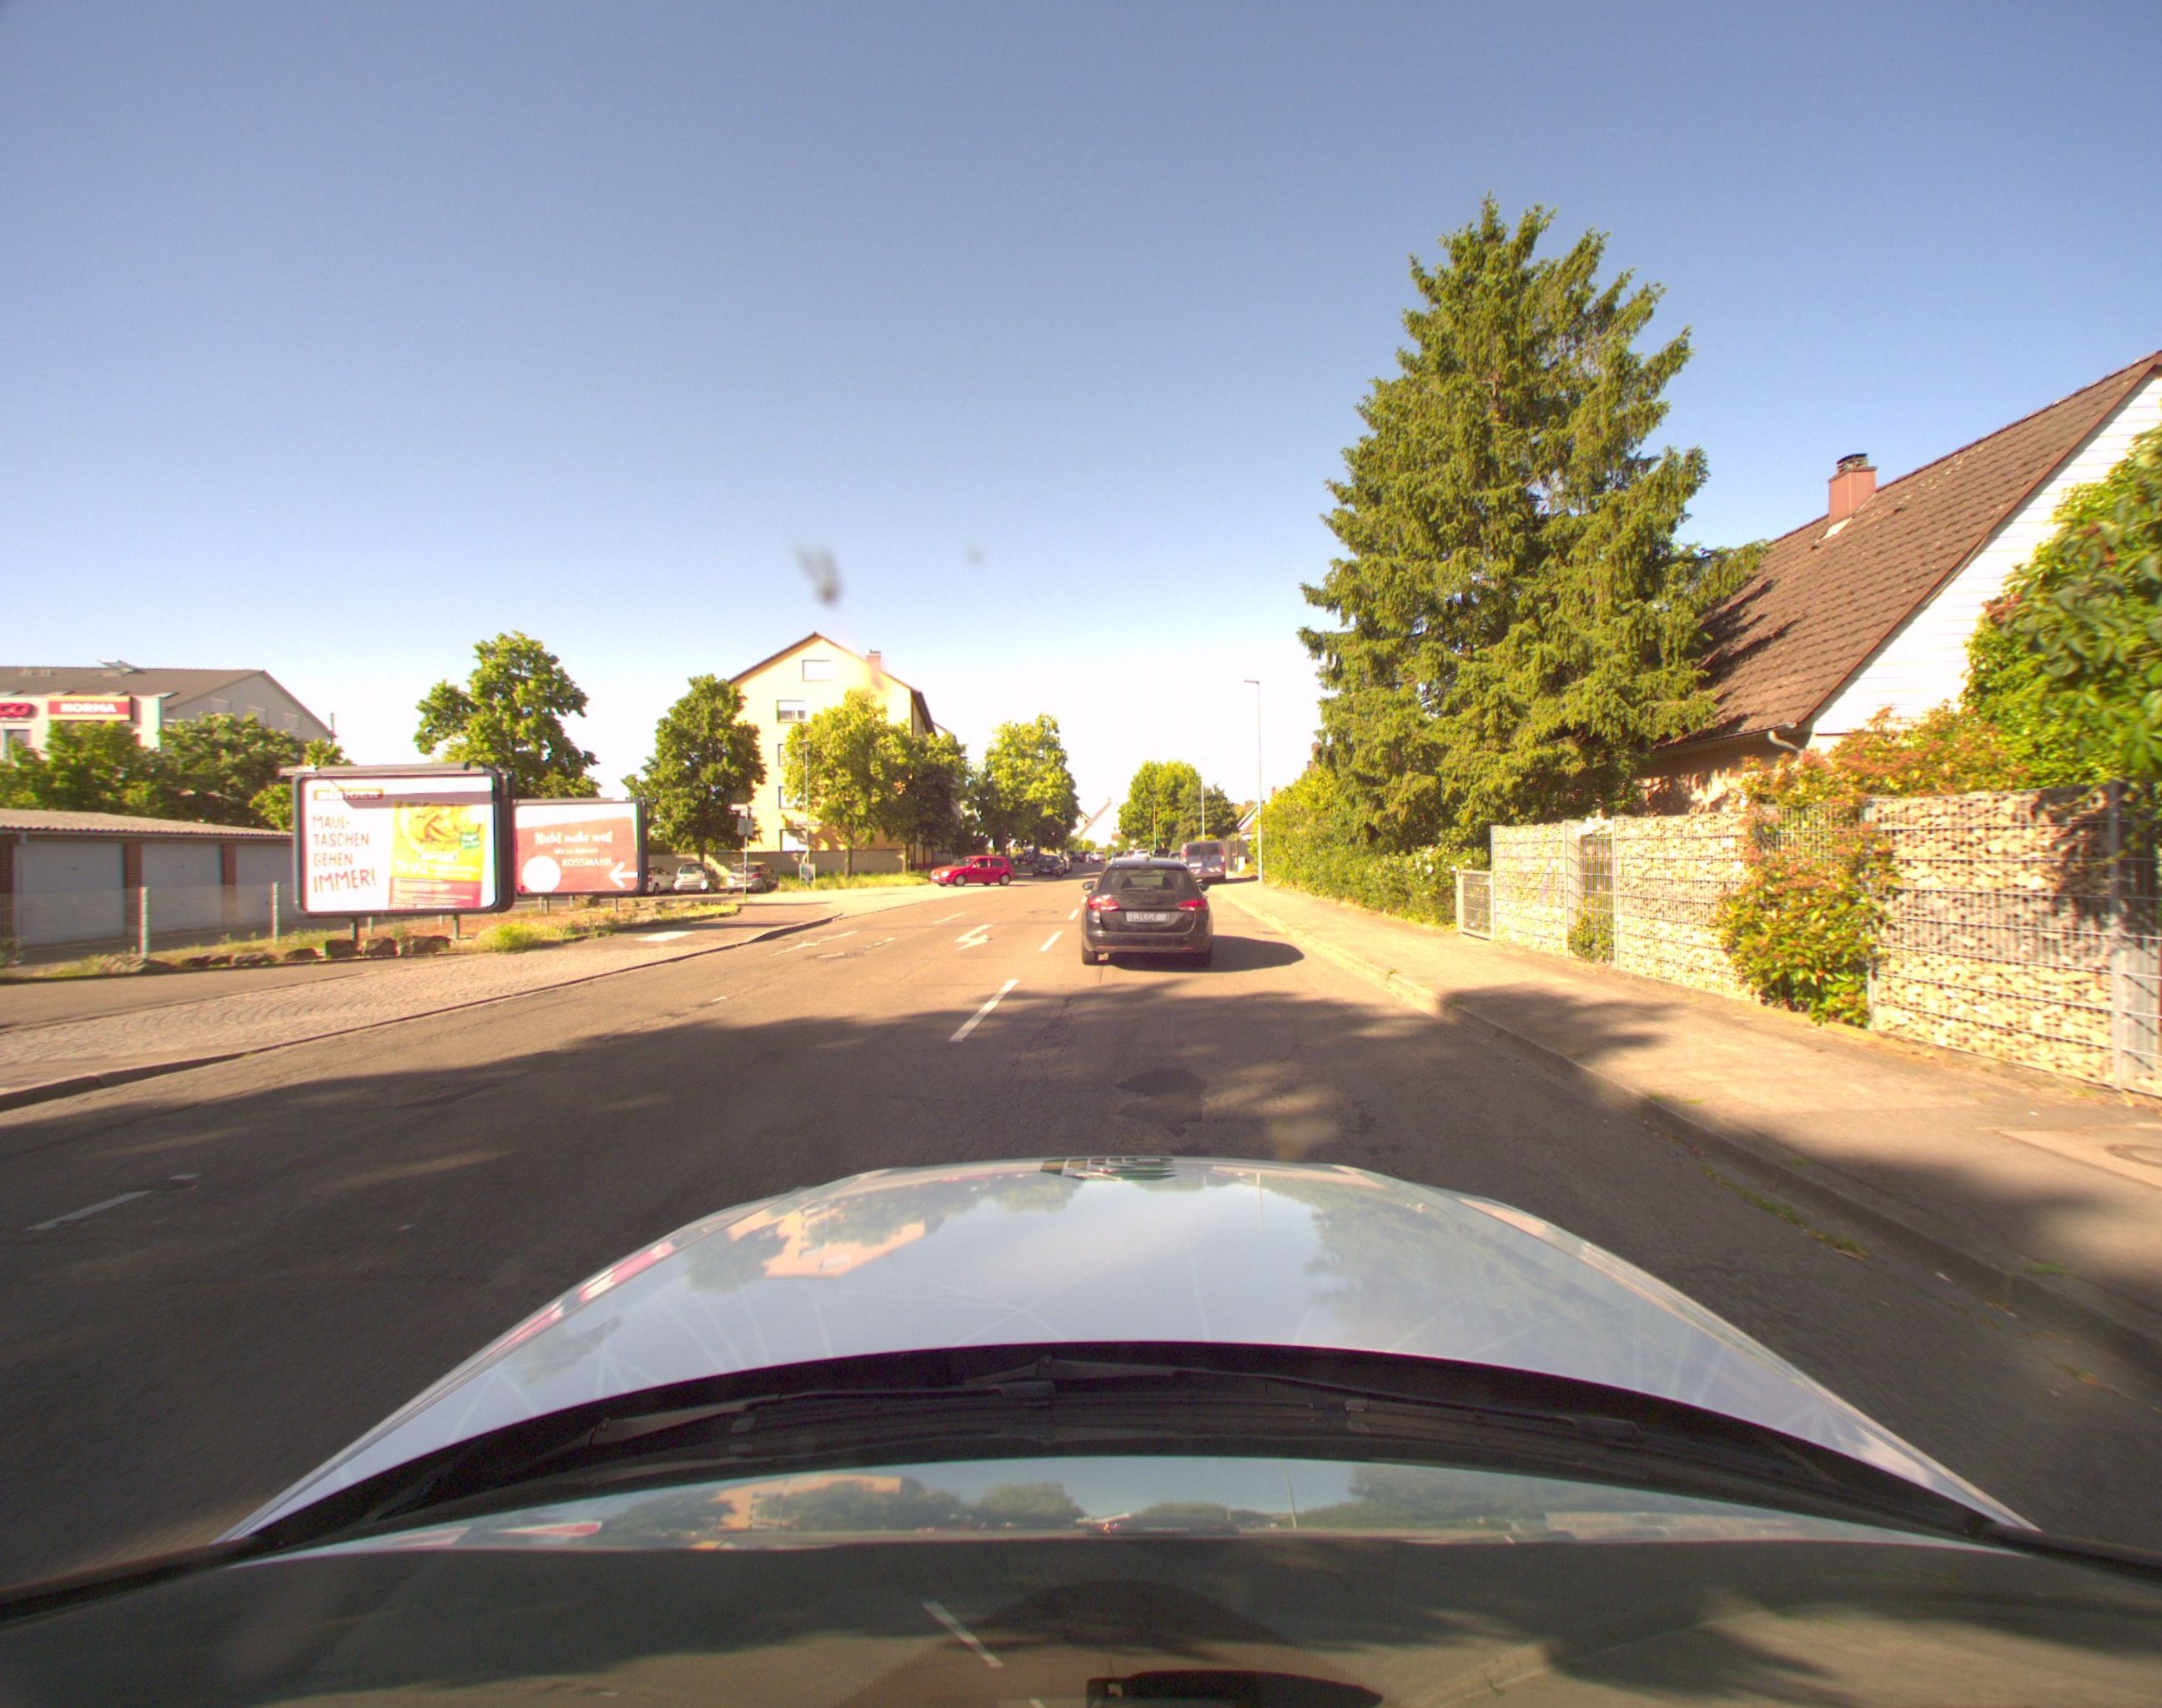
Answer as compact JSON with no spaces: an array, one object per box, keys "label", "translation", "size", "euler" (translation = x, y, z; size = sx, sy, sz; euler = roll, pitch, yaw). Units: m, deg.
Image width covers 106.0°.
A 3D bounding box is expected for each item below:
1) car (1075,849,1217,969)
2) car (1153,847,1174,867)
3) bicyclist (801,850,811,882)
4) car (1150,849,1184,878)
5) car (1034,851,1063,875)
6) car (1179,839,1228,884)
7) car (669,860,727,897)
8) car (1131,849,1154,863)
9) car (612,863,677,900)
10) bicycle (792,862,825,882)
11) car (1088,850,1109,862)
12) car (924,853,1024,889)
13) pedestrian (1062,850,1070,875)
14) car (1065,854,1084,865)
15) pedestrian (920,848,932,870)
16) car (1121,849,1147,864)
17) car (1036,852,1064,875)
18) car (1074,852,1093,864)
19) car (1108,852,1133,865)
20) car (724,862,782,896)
[{"label":"car","translation":[0.954,0.703,12.276],"size":[1.754,1.491,4.295],"euler":[0,0,4]},{"label":"car","translation":[7.478,0.259,74.272],"size":[1.770,1.724,4.299],"euler":[-2,0,4]},{"label":"bicyclist","translation":[-14.809,0.639,43.866],"size":[0.390,1.686,0.378],"euler":[-1,-2,-28]},{"label":"car","translation":[4.933,0.493,47.070],"size":[1.757,1.480,4.998],"euler":[-3,0,4]},{"label":"car","translation":[-2.085,0.620,53.319],"size":[1.695,1.480,4.052],"euler":[0,-1,1]},{"label":"car","translation":[5.447,0.308,36.654],"size":[1.828,1.907,4.704],"euler":[-1,0,4]},{"label":"car","translation":[-18.908,1.146,40.390],"size":[1.699,1.621,3.866],"euler":[-1,1,-12]},{"label":"car","translation":[6.796,0.241,90.269],"size":[1.758,1.480,4.284],"euler":[-2,0,-6]},{"label":"car","translation":[-21.011,1.287,39.352],"size":[1.699,1.463,3.867],"euler":[-1,3,-12]},{"label":"bicycle","translation":[-14.685,0.969,43.898],"size":[1.626,1.011,0.403],"euler":[-1,0,-28]},{"label":"car","translation":[2.330,0.324,109.399],"size":[1.822,1.534,4.240],"euler":[-2,-1,-13]},{"label":"car","translation":[-5.078,0.749,39.003],"size":[4.417,1.568,1.994],"euler":[-1,1,-43]},{"label":"pedestrian","translation":[-1.069,0.632,59.704],"size":[0.503,1.761,0.695],"euler":[-2,-2,0]},{"label":"car","translation":[-0.985,0.779,119.880],"size":[1.822,1.534,4.240],"euler":[-2,-1,-13]},{"label":"pedestrian","translation":[-12.286,0.385,64.522],"size":[0.682,1.718,0.721],"euler":[-2,-2,3]},{"label":"car","translation":[6.159,0.280,94.912],"size":[1.912,1.600,4.278],"euler":[-2,0,-11]},{"label":"car","translation":[-2.241,0.706,59.106],"size":[1.694,1.523,4.053],"euler":[-3,-2,2]},{"label":"car","translation":[0.354,0.562,114.659],"size":[1.822,1.534,4.240],"euler":[-2,-1,-13]},{"label":"car","translation":[4.820,0.608,100.346],"size":[2.007,1.475,4.276],"euler":[-2,0,-12]},{"label":"car","translation":[-15.978,1.165,39.870],"size":[1.728,1.464,3.869],"euler":[-2,1,-9]}]
